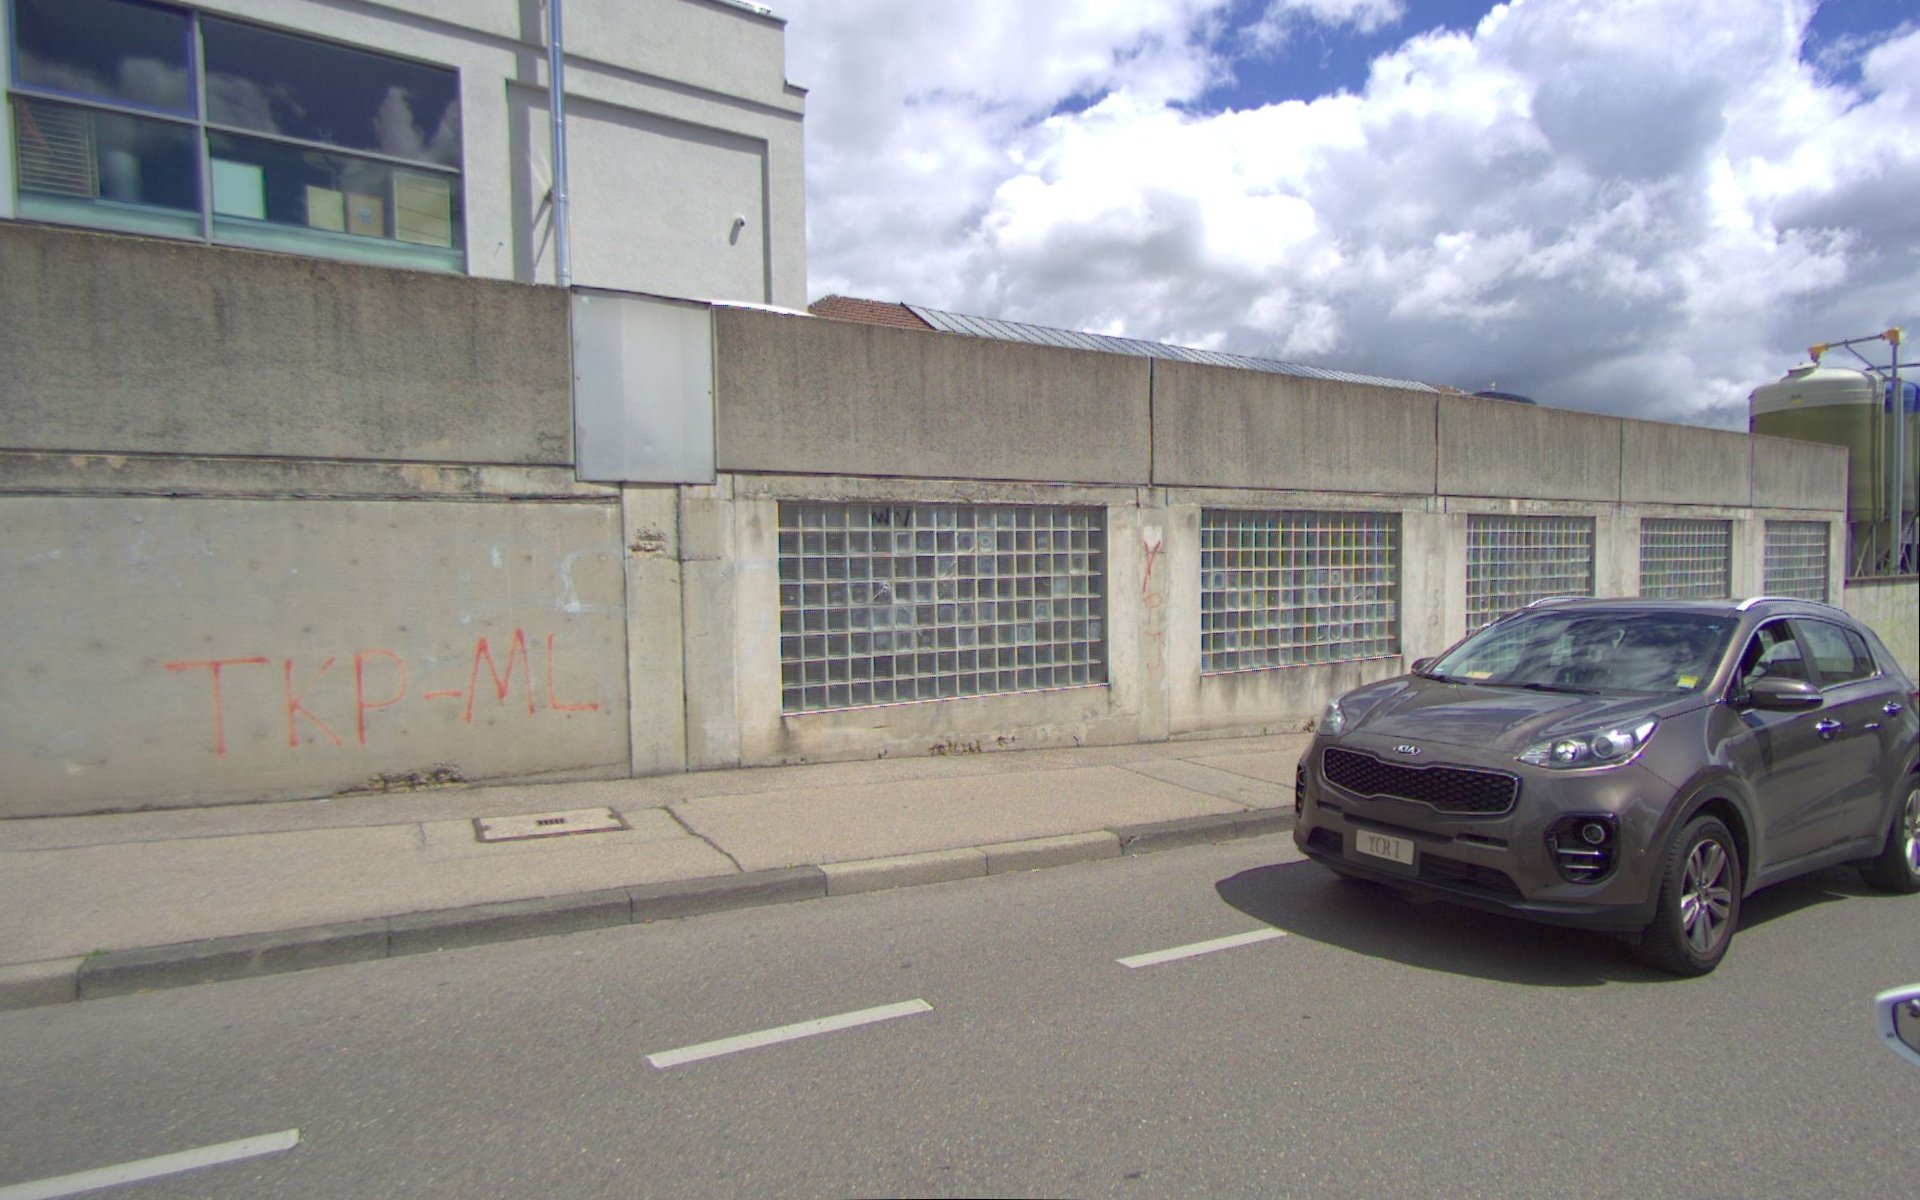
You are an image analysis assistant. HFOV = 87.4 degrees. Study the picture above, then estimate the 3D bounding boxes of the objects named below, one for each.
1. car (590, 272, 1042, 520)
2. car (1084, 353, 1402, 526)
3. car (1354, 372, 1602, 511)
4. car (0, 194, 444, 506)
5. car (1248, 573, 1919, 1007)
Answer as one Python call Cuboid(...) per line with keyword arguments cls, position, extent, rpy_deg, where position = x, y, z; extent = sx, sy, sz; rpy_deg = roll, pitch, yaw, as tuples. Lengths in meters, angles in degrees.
Cuboid(cls="car", position=(-1.361, -1.798, 9.981), extent=(4.059, 1.658, 1.796), rpy_deg=(2, 1, -32))
Cuboid(cls="car", position=(3.814, -1.982, 13.373), extent=(4.059, 1.658, 1.796), rpy_deg=(2, 1, -32))
Cuboid(cls="car", position=(8.596, -2.490, 16.603), extent=(4.059, 1.658, 1.796), rpy_deg=(2, 1, -32))
Cuboid(cls="car", position=(-6.087, -1.705, 7.254), extent=(4.059, 1.658, 1.796), rpy_deg=(2, 1, -32))
Cuboid(cls="car", position=(3.727, 0.759, 5.641), extent=(4.046, 1.644, 1.790), rpy_deg=(1, 0, -31))
